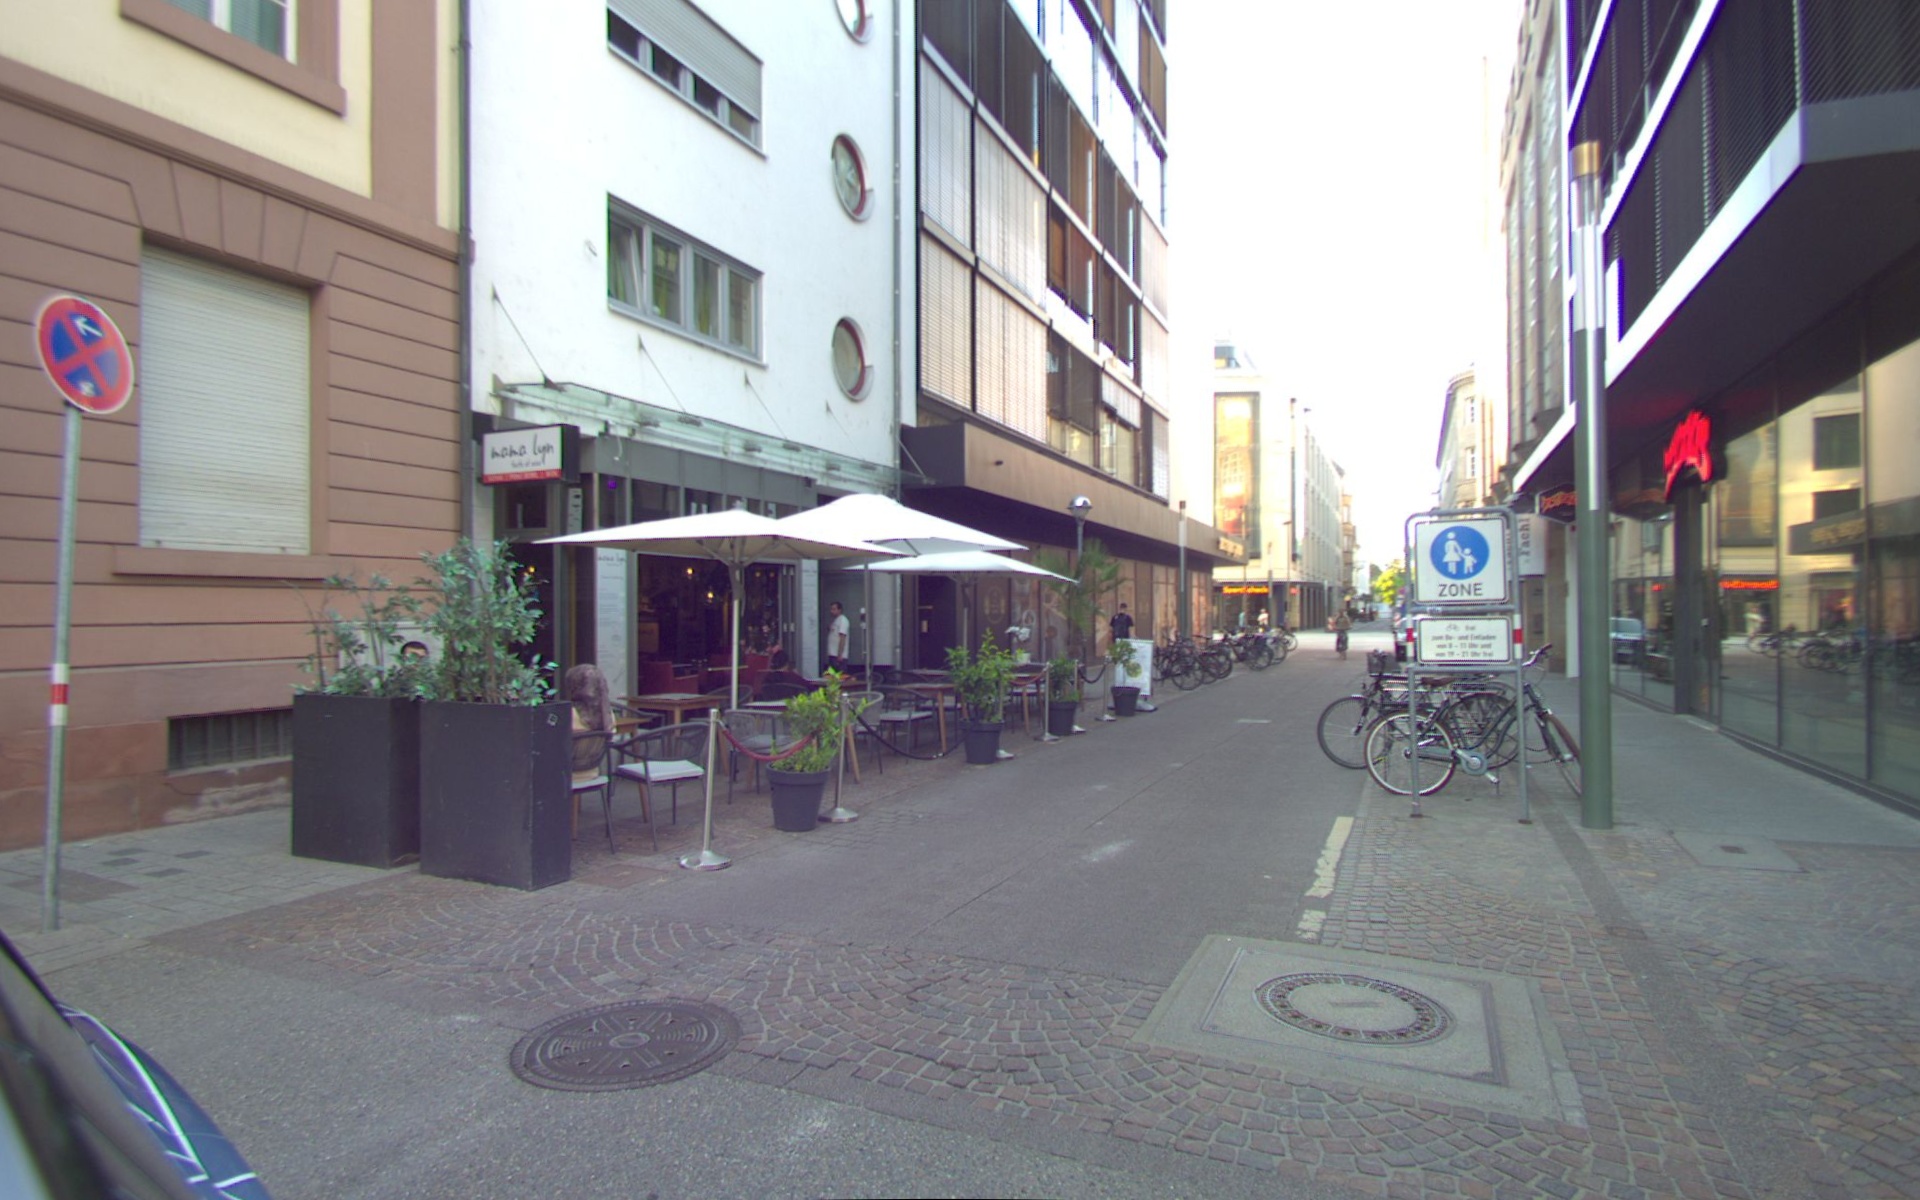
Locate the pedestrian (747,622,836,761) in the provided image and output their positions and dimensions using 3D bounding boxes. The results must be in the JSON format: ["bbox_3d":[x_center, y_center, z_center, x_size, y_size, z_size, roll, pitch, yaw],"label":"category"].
[{"bbox_3d":[-1.820,0.960,11.009,0.573,1.431,0.860,-1,-1,26],"label":"pedestrian"}]

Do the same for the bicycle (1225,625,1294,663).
[{"bbox_3d":[9.546,1.399,32.290,2.028,1.176,0.614,-1,-1,24],"label":"bicycle"}]

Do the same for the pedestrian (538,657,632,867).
[{"bbox_3d":[-2.300,0.972,6.223,0.397,1.223,0.381,-1,-1,15],"label":"pedestrian"}]

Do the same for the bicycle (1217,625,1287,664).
[{"bbox_3d":[9.034,1.364,31.324,2.028,1.176,0.614,-1,-1,24],"label":"bicycle"}]

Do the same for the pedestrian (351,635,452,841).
[{"bbox_3d":[-3.753,0.900,6.819,0.359,1.315,0.493,-1,-1,11],"label":"pedestrian"}]

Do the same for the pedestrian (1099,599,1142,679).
[{"bbox_3d":[3.751,0.901,23.635,0.800,1.850,0.669,-1,-1,27],"label":"pedestrian"}]

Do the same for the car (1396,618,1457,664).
[{"bbox_3d":[15.561,1.324,33.697,1.597,1.434,3.569,-1,-1,28],"label":"car"}]

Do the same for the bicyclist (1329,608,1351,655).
[{"bbox_3d":[13.664,1.120,36.403,0.672,1.683,0.862,-1,-1,24],"label":"bicyclist"}]

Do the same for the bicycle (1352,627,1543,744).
[{"bbox_3d":[5.625,0.995,11.774,1.893,1.279,0.534,-3,-2,26],"label":"bicycle"}]

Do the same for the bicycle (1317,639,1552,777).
[{"bbox_3d":[4.375,0.983,9.447,1.892,1.190,0.513,-2,-2,24],"label":"bicycle"}]

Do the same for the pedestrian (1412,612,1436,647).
[{"bbox_3d":[21.874,1.383,47.743,0.770,1.633,0.637,0,0,-15],"label":"pedestrian"}]

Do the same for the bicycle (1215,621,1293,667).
[{"bbox_3d":[8.326,1.219,28.667,2.028,1.176,0.660,2,0,24],"label":"bicycle"}]

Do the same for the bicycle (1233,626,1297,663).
[{"bbox_3d":[10.414,1.495,34.523,2.028,1.225,0.614,-1,-1,24],"label":"bicycle"}]

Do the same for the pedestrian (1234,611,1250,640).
[{"bbox_3d":[14.762,1.329,52.915,0.776,1.536,0.632,0,0,17],"label":"pedestrian"}]

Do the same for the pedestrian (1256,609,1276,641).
[{"bbox_3d":[15.971,1.301,52.747,0.625,1.633,0.785,0,0,-24],"label":"pedestrian"}]

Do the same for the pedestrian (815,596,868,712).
[{"bbox_3d":[-1.872,0.846,16.073,0.635,1.785,0.598,-1,-1,20],"label":"pedestrian"}]

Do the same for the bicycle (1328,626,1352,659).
[{"bbox_3d":[13.672,1.520,36.391,0.695,1.137,1.989,-1,-1,23],"label":"bicycle"}]

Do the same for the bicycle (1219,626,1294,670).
[{"bbox_3d":[8.796,1.399,30.046,2.028,1.176,0.614,2,0,25],"label":"bicycle"}]

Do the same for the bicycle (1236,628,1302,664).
[{"bbox_3d":[10.279,1.513,33.636,2.028,1.176,0.614,-1,-1,24],"label":"bicycle"}]

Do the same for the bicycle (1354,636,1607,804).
[{"bbox_3d":[4.031,0.923,7.962,1.661,1.214,0.505,-3,-2,25],"label":"bicycle"}]
